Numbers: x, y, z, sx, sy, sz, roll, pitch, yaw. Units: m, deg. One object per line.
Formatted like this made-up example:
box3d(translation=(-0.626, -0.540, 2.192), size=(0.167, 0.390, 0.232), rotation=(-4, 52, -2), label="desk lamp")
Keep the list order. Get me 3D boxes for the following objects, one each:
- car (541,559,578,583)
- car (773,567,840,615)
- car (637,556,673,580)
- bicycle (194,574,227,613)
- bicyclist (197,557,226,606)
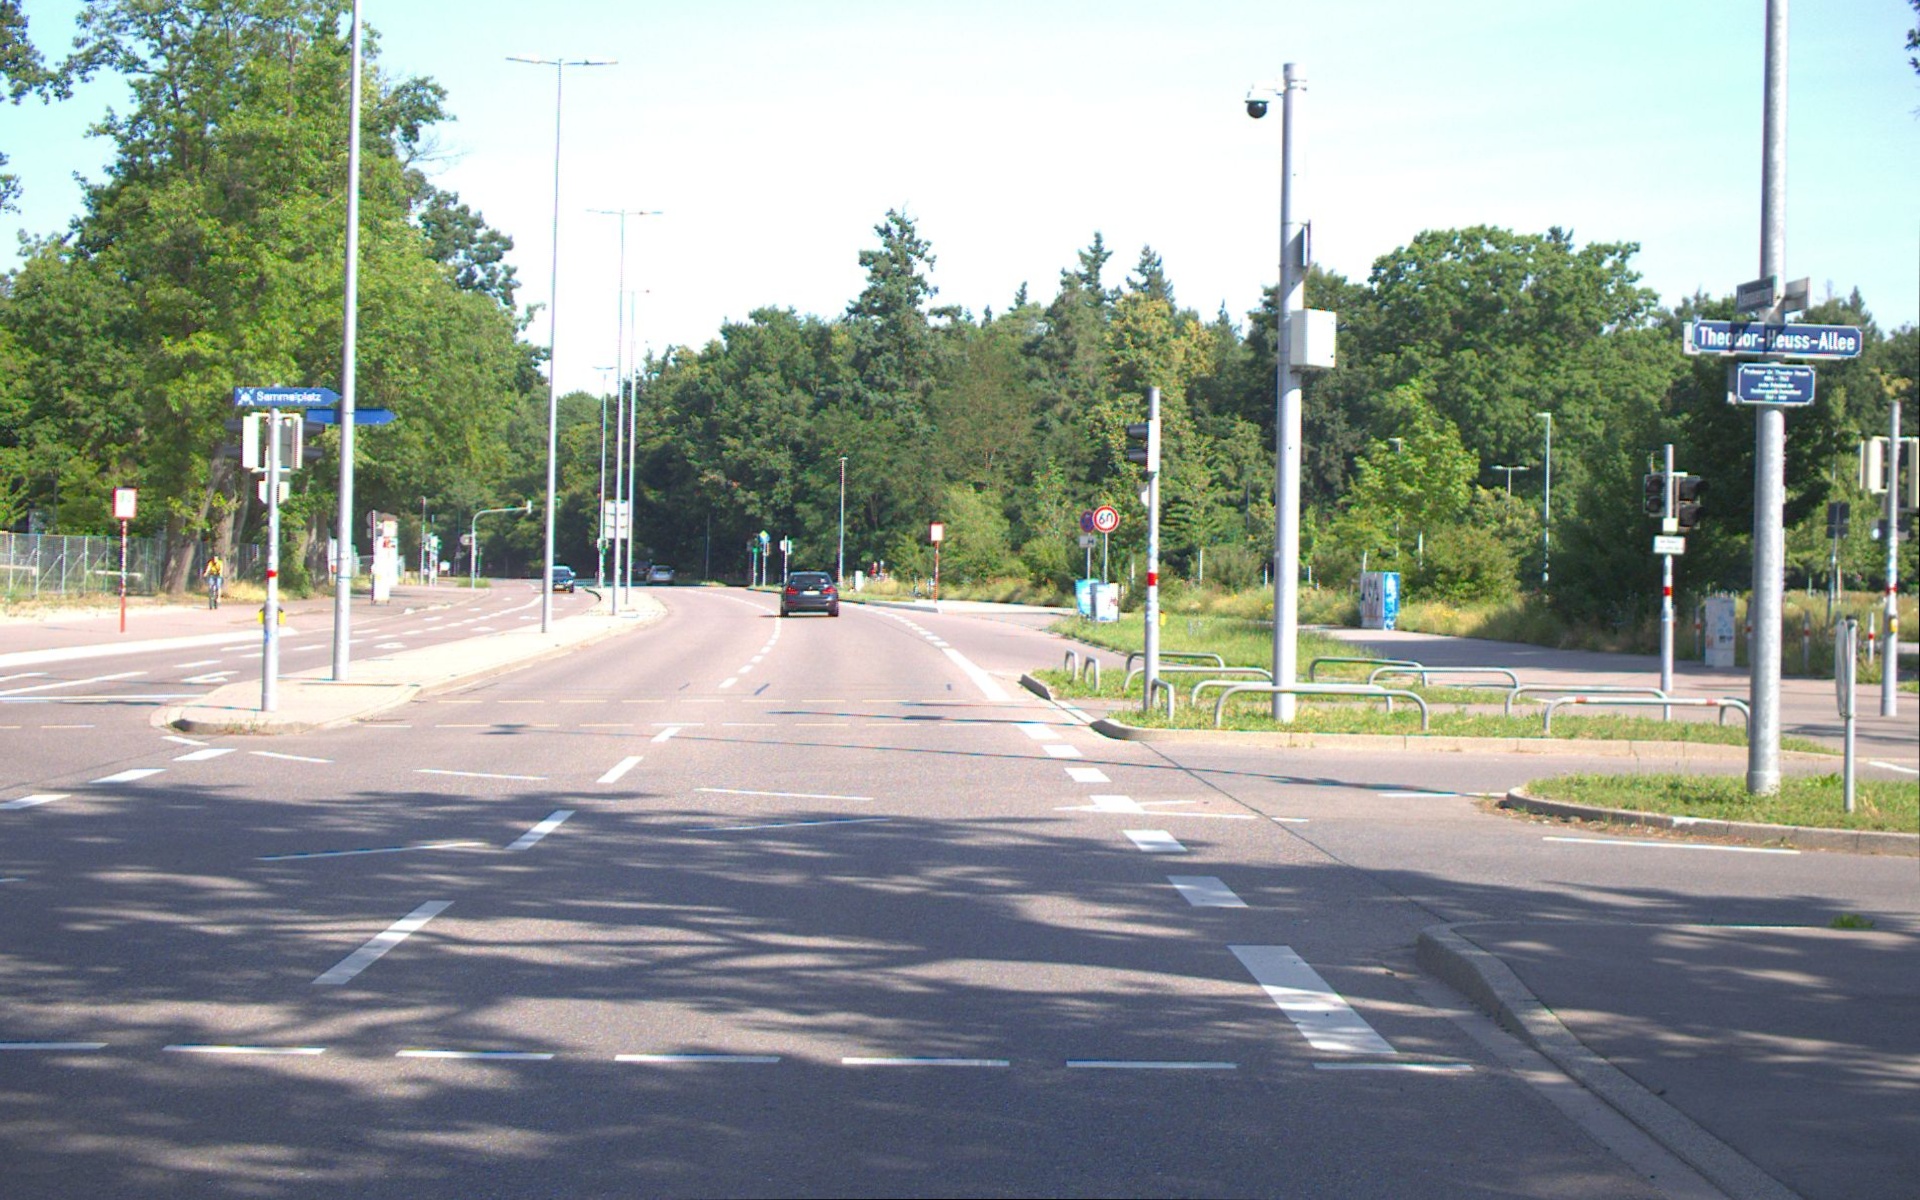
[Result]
box3d(translation=(-23.451, -1.699, 201.119), size=(1.810, 1.383, 4.163), rotation=(-1, 1, -11), label="car")
box3d(translation=(-4.877, -0.304, 108.788), size=(1.940, 1.415, 4.294), rotation=(1, 1, -5), label="car")
box3d(translation=(-22.324, -2.317, 251.545), size=(1.993, 1.744, 4.001), rotation=(1, 0, -14), label="car")
box3d(translation=(-22.593, -0.208, 103.629), size=(0.659, 1.132, 1.879), rotation=(2, 1, -4), label="bicycle")
box3d(translation=(-22.560, -0.565, 103.627), size=(0.659, 1.462, 1.057), rotation=(2, 0, -4), label="bicyclist")
